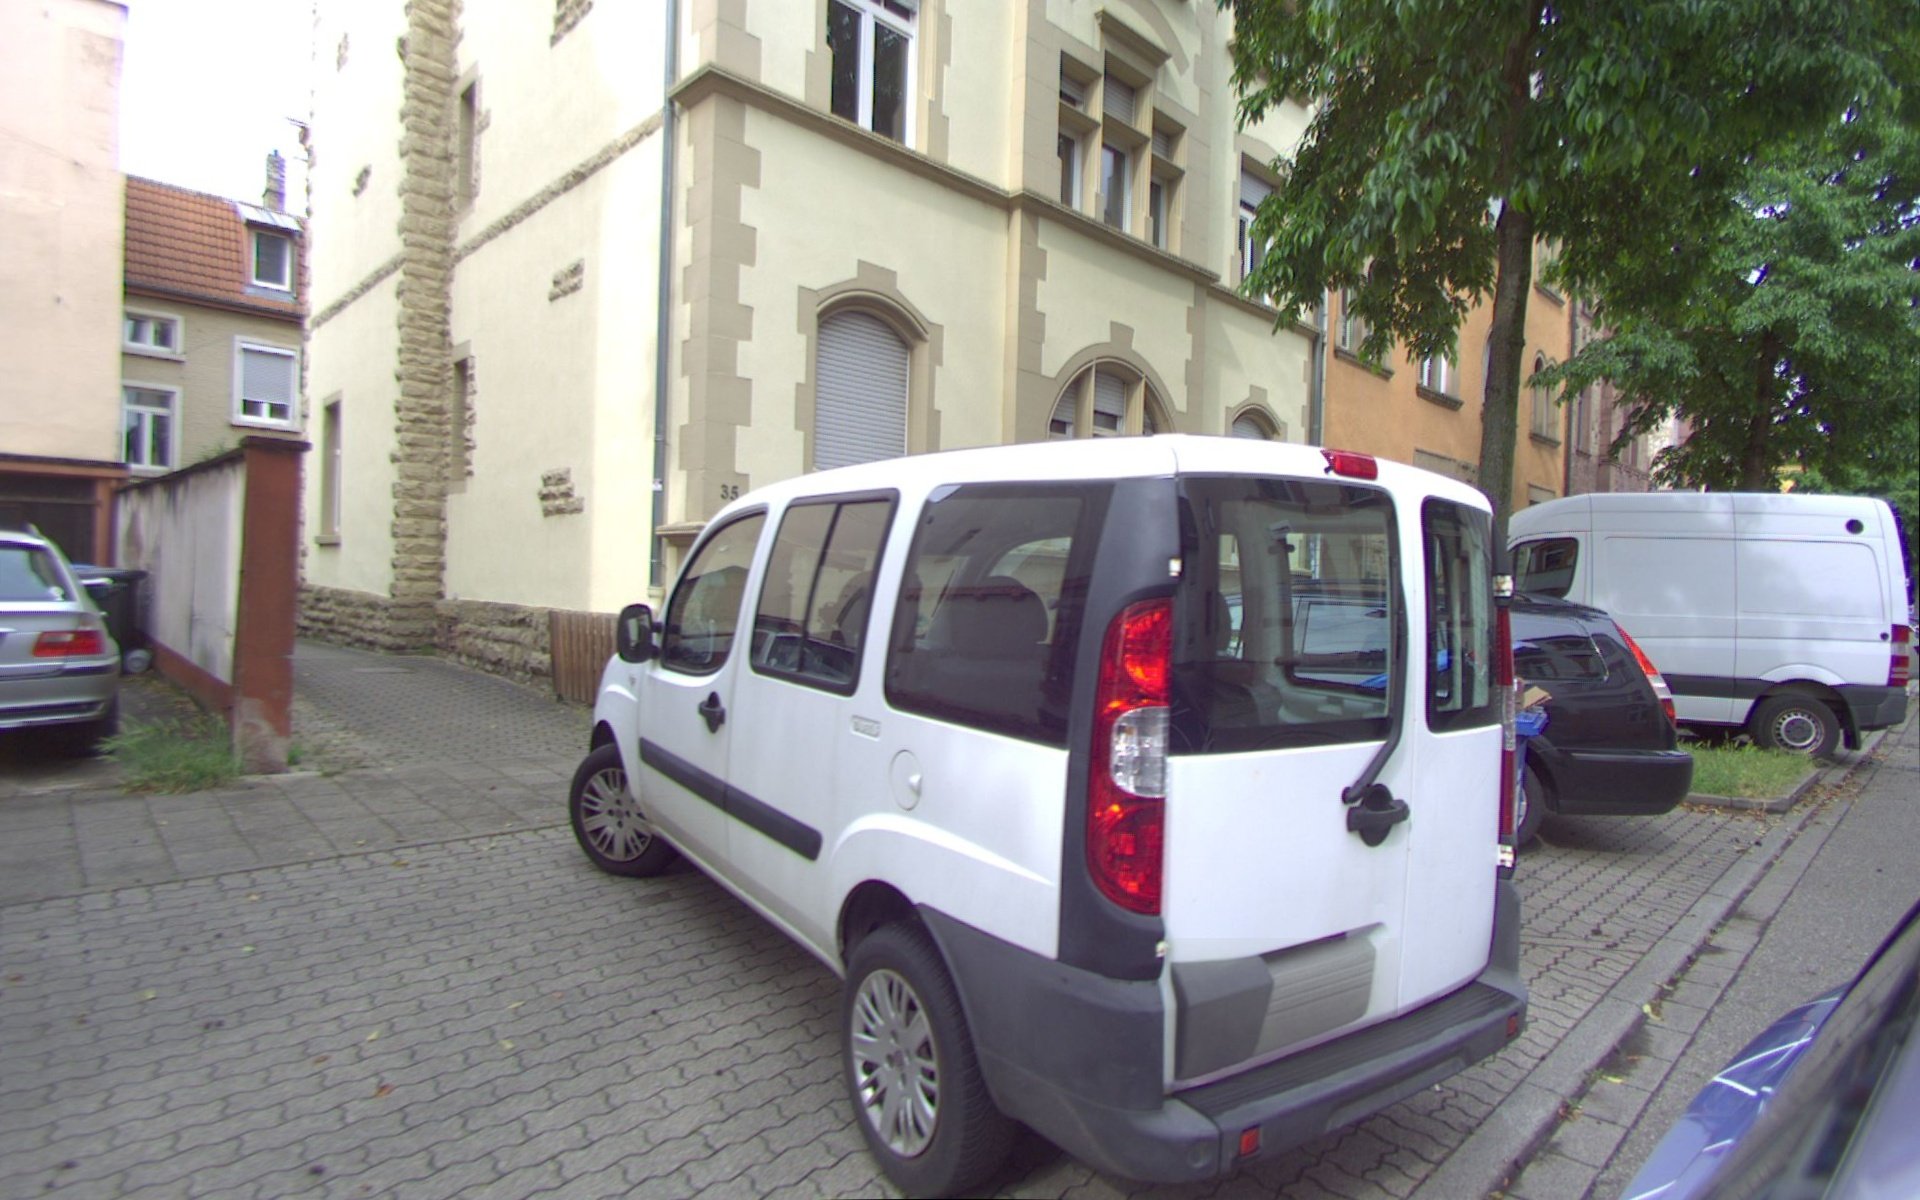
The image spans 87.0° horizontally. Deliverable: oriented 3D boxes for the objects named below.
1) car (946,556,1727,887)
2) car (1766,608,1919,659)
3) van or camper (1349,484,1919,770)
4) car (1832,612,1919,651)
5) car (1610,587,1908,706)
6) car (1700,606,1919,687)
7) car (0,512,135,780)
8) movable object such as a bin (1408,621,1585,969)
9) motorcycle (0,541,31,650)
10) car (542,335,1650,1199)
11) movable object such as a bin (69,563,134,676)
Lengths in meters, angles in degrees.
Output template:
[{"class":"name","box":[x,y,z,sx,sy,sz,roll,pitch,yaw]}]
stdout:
[{"class":"car","box":[2.185,0.600,6.717,4.220,1.637,1.753,2,0,17]},{"class":"car","box":[29.398,1.083,33.460,4.120,1.517,1.817,2,0,34]},{"class":"van or camper","box":[7.004,0.173,10.898,4.999,2.623,2.063,2,0,17]},{"class":"car","box":[38.321,1.296,41.542,3.580,1.485,1.611,2,0,33]},{"class":"car","box":[13.205,0.714,17.003,3.566,1.755,1.660,1,0,24]},{"class":"car","box":[17.680,0.922,20.843,3.555,1.485,1.622,1,0,15]},{"class":"car","box":[-6.802,0.193,6.821,1.583,1.472,3.990,1,1,-44]},{"class":"movable object such as a bin","box":[2.211,0.739,4.164,0.591,1.286,0.454,1,0,-43]},{"class":"motorcycle","box":[-12.894,-0.084,12.377,2.211,1.349,0.797,1,2,-42]},{"class":"car","box":[-0.072,0.464,3.733,1.688,1.834,3.997,1,0,-38]},{"class":"movable object such as a bin","box":[-8.892,0.194,10.480,0.470,1.124,0.404,1,1,-44]}]
